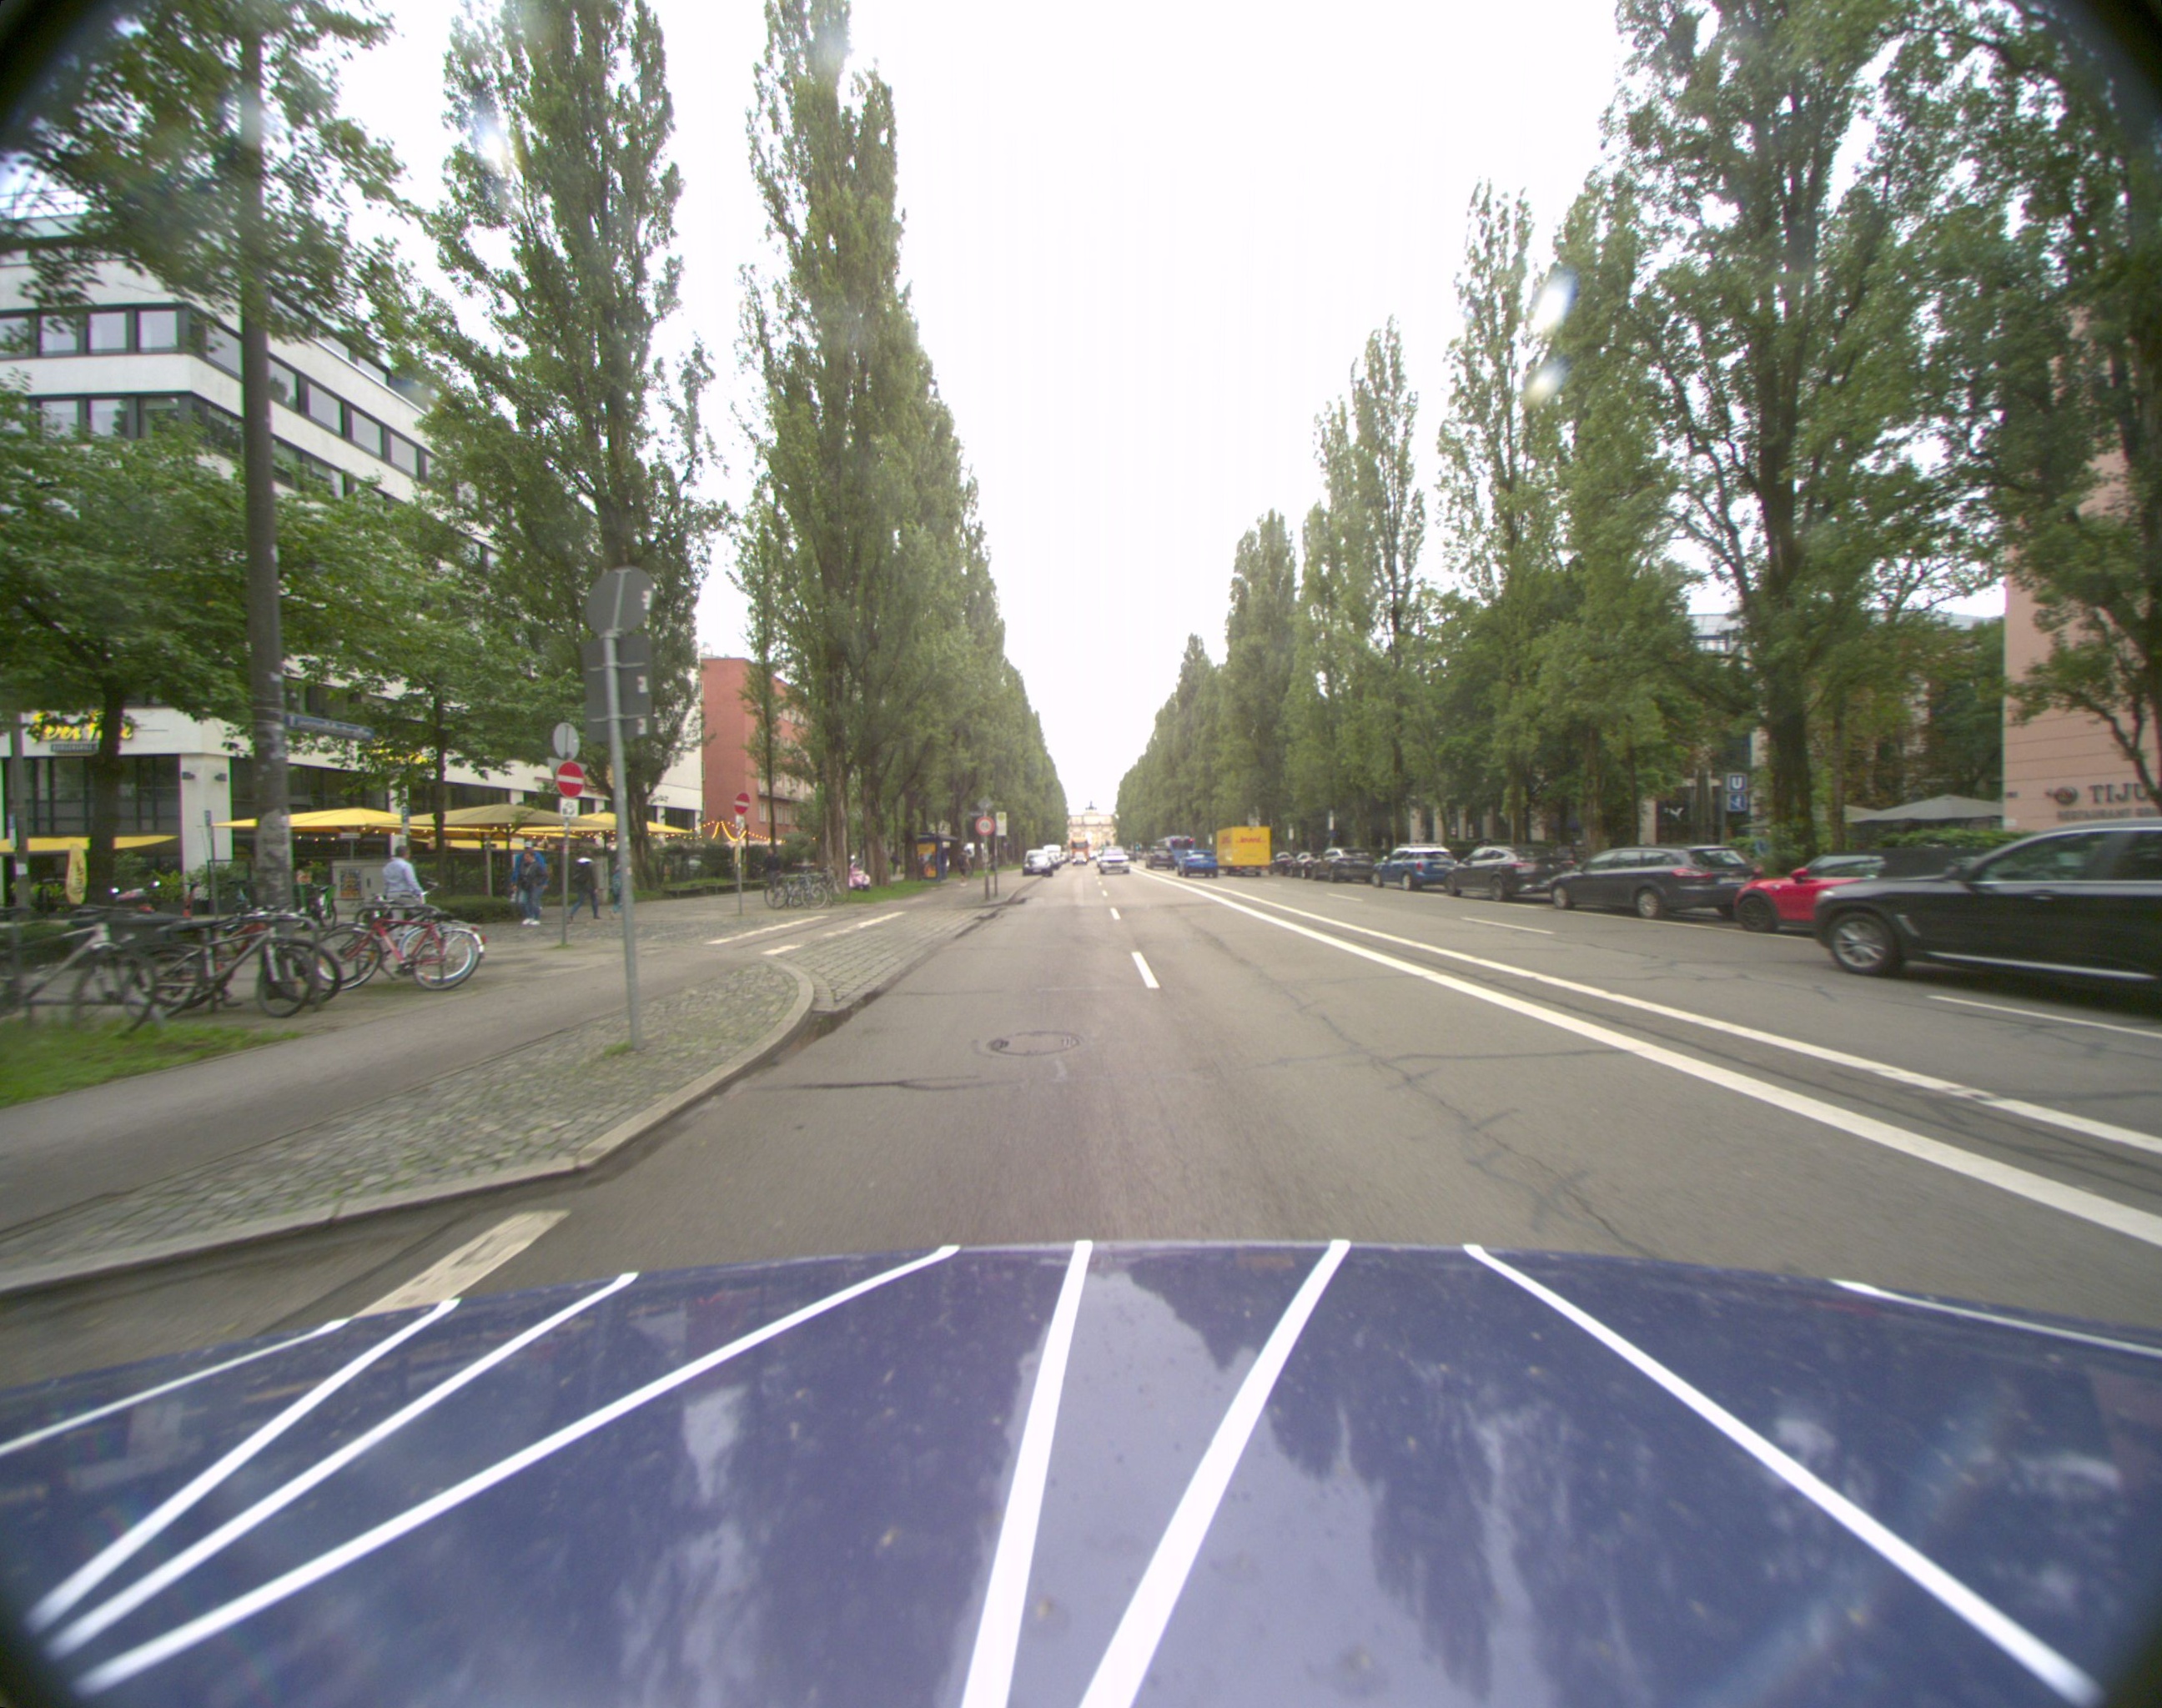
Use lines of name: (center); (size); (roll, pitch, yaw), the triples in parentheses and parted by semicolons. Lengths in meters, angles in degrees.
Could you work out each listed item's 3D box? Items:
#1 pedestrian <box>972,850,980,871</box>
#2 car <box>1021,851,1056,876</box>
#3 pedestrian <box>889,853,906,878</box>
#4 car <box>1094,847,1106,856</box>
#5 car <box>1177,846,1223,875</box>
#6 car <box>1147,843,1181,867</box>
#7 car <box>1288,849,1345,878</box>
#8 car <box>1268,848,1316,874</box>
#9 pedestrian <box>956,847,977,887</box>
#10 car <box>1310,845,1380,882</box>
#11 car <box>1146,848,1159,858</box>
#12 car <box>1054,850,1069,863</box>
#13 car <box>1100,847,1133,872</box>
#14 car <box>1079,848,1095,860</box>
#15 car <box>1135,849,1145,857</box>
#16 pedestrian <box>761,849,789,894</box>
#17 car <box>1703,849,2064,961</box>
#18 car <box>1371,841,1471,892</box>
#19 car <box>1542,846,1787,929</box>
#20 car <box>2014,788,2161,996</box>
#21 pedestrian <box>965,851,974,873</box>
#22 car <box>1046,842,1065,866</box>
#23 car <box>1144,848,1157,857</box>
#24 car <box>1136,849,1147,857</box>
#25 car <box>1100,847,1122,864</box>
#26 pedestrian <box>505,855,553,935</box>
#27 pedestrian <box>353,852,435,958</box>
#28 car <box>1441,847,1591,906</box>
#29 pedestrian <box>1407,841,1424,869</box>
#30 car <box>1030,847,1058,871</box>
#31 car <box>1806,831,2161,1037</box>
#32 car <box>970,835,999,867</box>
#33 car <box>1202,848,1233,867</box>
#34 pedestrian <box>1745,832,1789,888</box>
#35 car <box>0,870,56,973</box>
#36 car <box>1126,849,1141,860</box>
pedestrian: (-8.431, 0.491, 61.028); (0.517, 1.683, 0.486); (-1, 1, 4)
car: (-2.763, 0.609, 50.661); (2.011, 1.571, 4.000); (-1, 1, 1)
pedestrian: (-12.554, 0.779, 51.891); (0.889, 1.683, 0.768); (-1, 1, 4)
car: (3.371, -0.509, 135.739); (2.011, 1.571, 4.000); (-1, 1, 1)
car: (6.685, 0.338, 43.109); (1.870, 1.570, 4.422); (0, 0, 0)
car: (6.567, 0.079, 60.732); (1.999, 1.738, 5.063); (2, 0, -2)
car: (12.337, 0.459, 40.010); (1.792, 1.404, 3.881); (-1, 0, 0)
car: (12.565, 0.387, 45.403); (1.792, 1.404, 3.881); (-1, 0, 0)
pedestrian: (-5.171, 0.584, 34.409); (0.751, 1.762, 0.706); (-1, 1, 5)
car: (12.196, 0.409, 35.348); (1.792, 1.591, 4.236); (-1, 0, 0)
car: (12.901, -0.217, 136.581); (1.998, 1.712, 4.348); (0, 0, 1)
car: (-2.812, 0.350, 110.269); (2.011, 1.747, 3.999); (-1, 1, -2)
car: (2.367, 0.350, 51.567); (2.011, 1.571, 4.000); (-2, 1, 1)
car: (0.680, 0.012, 90.567); (1.648, 1.388, 3.999); (-1, 0, -2)
car: (12.775, -0.283, 164.998); (1.998, 1.712, 4.348); (0, 0, 1)
pedestrian: (-11.910, 0.673, 29.588); (0.735, 1.683, 0.647); (-1, 1, 4)
car: (12.102, 0.668, 11.901); (1.676, 1.440, 3.874); (-1, 0, 3)
car: (12.377, 0.415, 27.969); (1.792, 1.722, 4.077); (0, 0, -1)
car: (12.353, 0.613, 16.569); (1.792, 1.520, 4.623); (-1, 0, 0)
car: (12.316, 0.385, 6.467); (2.022, 2.184, 5.497); (-1, 0, 0)
pedestrian: (-8.961, 0.643, 61.067); (0.517, 1.683, 0.486); (-1, 1, 4)
car: (-2.978, -0.025, 89.946); (2.011, 2.617, 5.999); (-1, 1, 0)
car: (13.160, -0.242, 143.940); (1.998, 1.712, 4.348); (0, 0, 1)
car: (12.590, -0.269, 158.350); (1.998, 1.712, 4.348); (0, 0, 1)
car: (2.912, 0.144, 74.664); (2.011, 1.571, 4.000); (-1, 1, 1)
pedestrian: (-12.381, 0.899, 17.065); (0.704, 1.717, 0.644); (-2, 1, -24)
pedestrian: (-11.490, 0.837, 12.732); (0.712, 1.714, 0.670); (-1, 1, 0)
car: (12.438, 0.584, 22.107); (1.792, 1.520, 4.514); (-1, 0, 0)
pedestrian: (20.127, 0.057, 45.730); (0.708, 1.704, 0.732); (-1, 1, 1)
car: (-2.835, 0.406, 59.073); (2.011, 1.746, 4.000); (-2, -1, -2)
car: (9.564, 0.628, 6.712); (1.998, 1.633, 4.551); (0, 0, 1)
car: (-9.375, -0.305, 74.449); (2.199, 2.999, 5.998); (-1, 0, -2)
car: (10.810, 0.233, 60.369); (1.792, 1.404, 3.881); (-1, 1, 0)
pedestrian: (21.309, 0.194, 23.624); (0.708, 1.704, 0.732); (-1, 1, 1)
car: (-20.117, 1.180, 12.295); (4.199, 1.691, 1.926); (-1, 1, -2)
car: (7.137, 0.087, 103.387); (1.847, 1.518, 3.752); (0, 1, 2)
